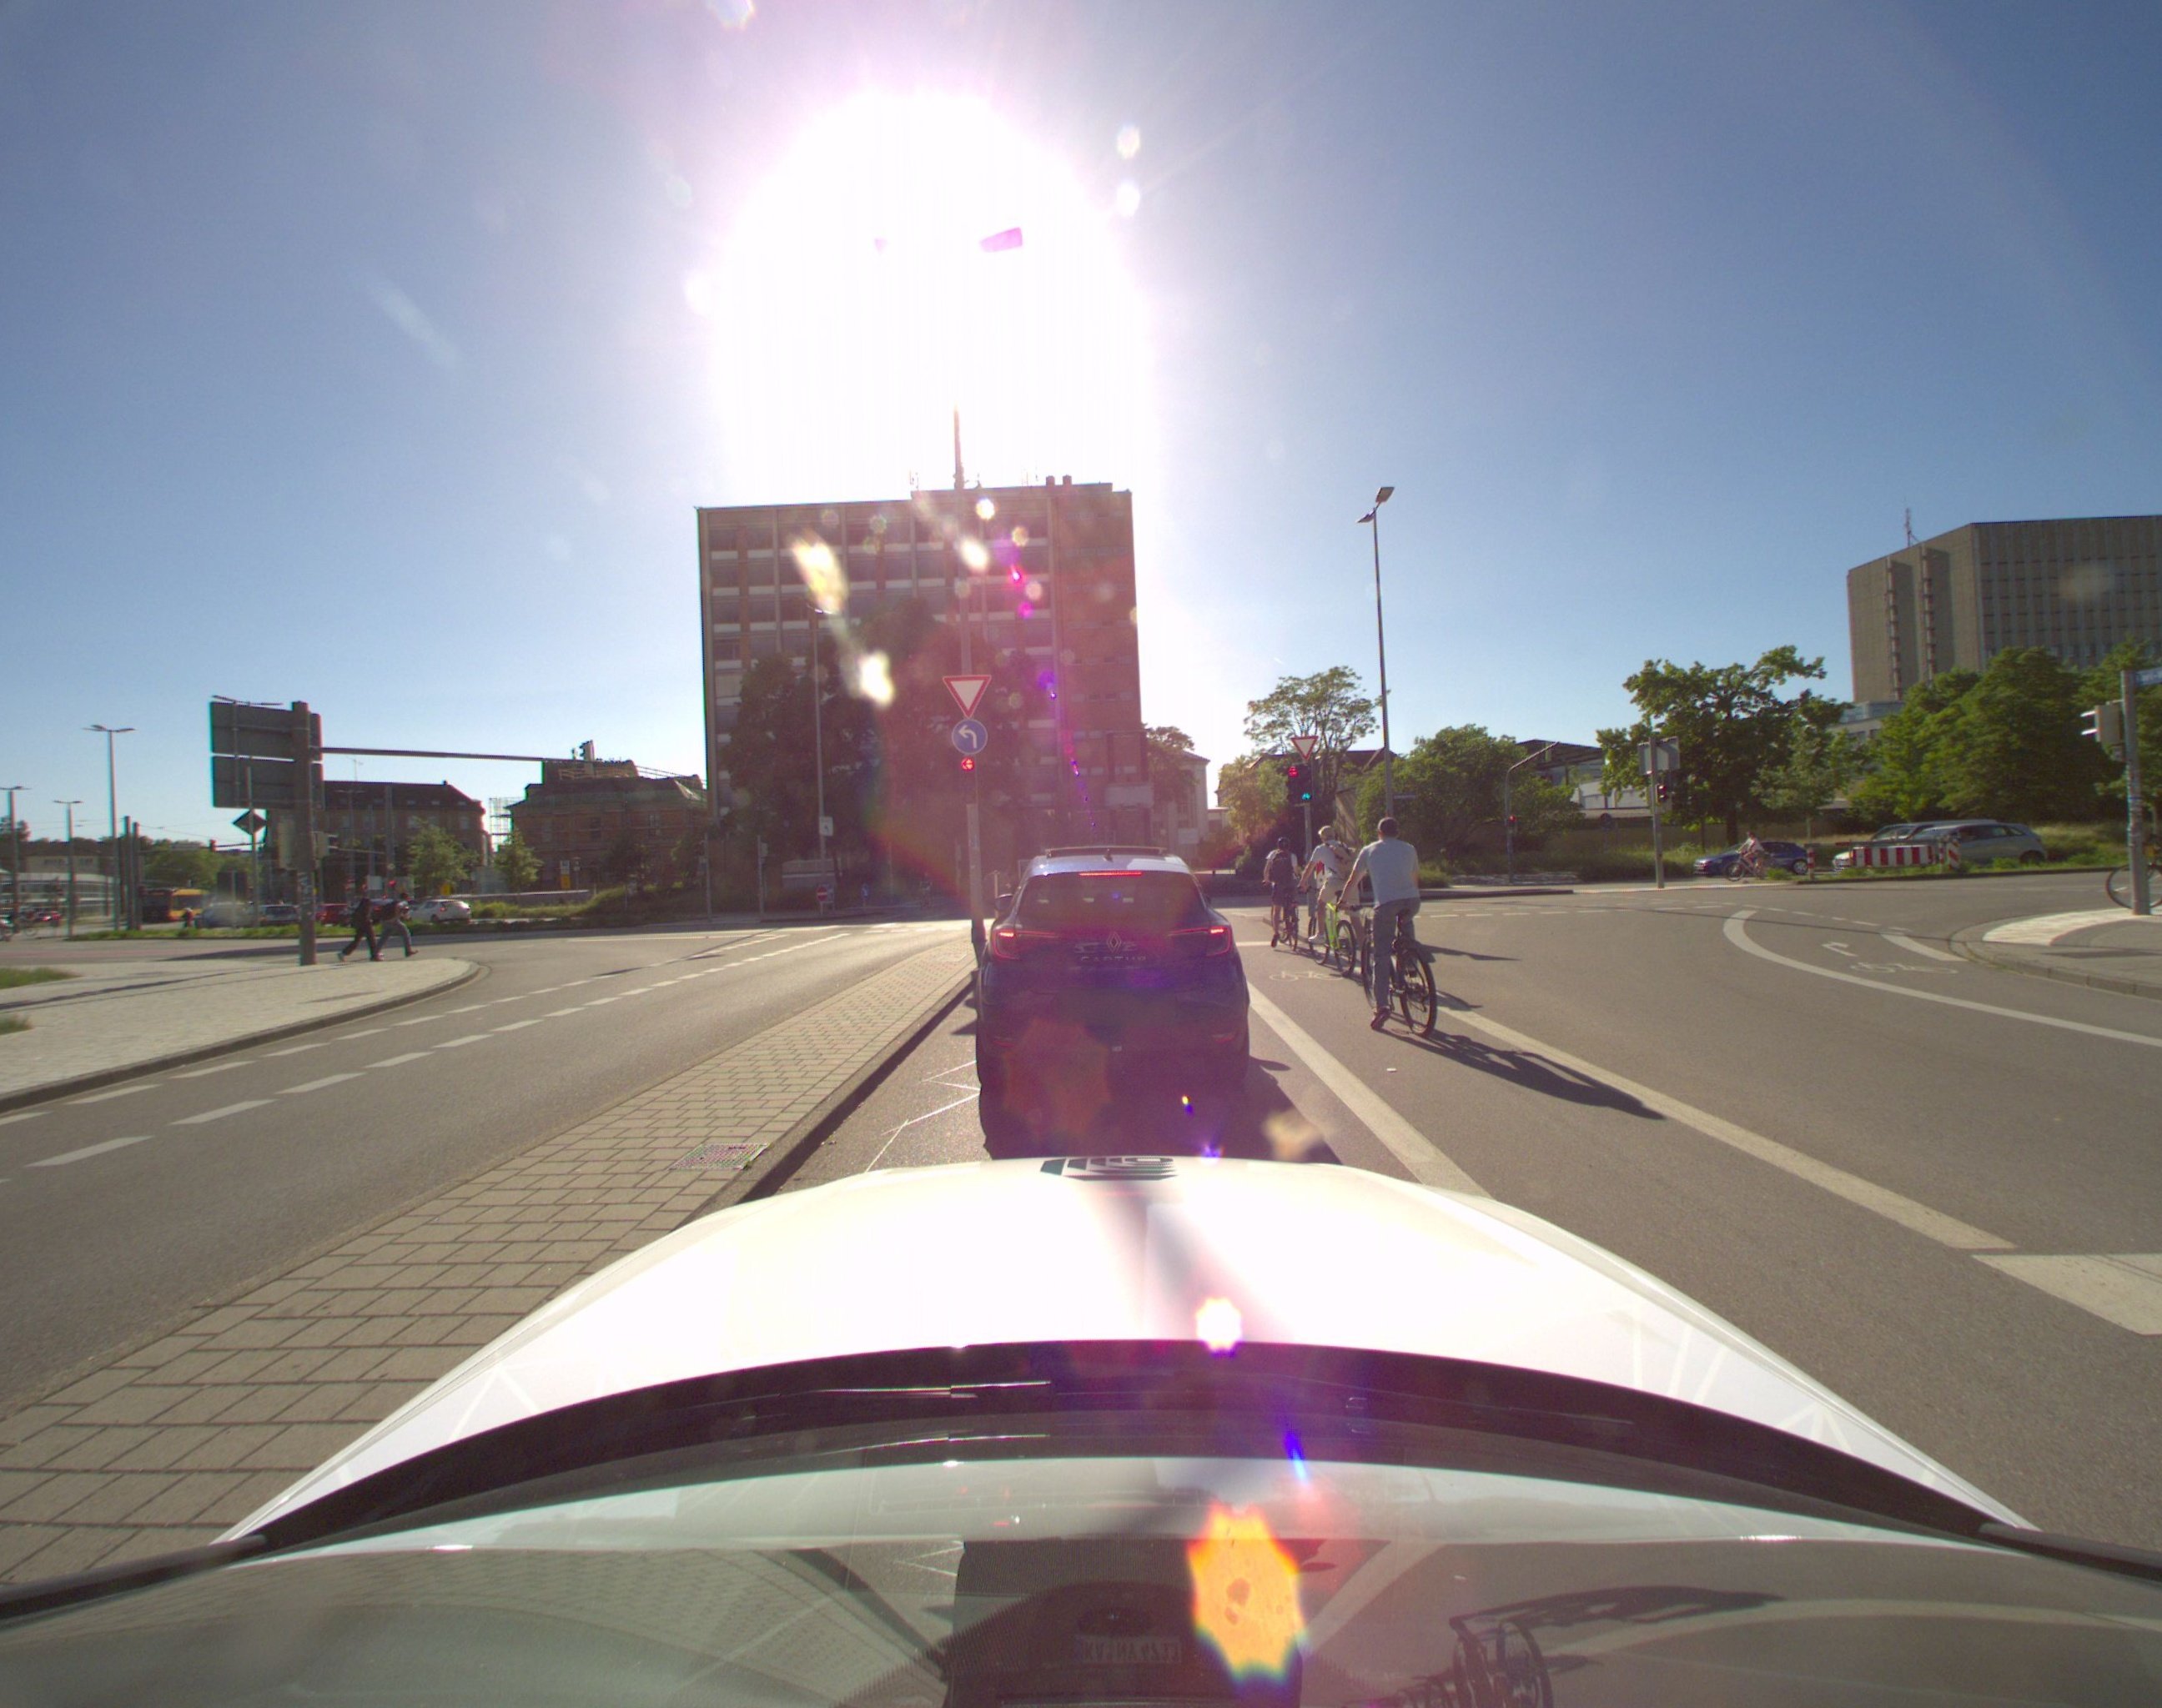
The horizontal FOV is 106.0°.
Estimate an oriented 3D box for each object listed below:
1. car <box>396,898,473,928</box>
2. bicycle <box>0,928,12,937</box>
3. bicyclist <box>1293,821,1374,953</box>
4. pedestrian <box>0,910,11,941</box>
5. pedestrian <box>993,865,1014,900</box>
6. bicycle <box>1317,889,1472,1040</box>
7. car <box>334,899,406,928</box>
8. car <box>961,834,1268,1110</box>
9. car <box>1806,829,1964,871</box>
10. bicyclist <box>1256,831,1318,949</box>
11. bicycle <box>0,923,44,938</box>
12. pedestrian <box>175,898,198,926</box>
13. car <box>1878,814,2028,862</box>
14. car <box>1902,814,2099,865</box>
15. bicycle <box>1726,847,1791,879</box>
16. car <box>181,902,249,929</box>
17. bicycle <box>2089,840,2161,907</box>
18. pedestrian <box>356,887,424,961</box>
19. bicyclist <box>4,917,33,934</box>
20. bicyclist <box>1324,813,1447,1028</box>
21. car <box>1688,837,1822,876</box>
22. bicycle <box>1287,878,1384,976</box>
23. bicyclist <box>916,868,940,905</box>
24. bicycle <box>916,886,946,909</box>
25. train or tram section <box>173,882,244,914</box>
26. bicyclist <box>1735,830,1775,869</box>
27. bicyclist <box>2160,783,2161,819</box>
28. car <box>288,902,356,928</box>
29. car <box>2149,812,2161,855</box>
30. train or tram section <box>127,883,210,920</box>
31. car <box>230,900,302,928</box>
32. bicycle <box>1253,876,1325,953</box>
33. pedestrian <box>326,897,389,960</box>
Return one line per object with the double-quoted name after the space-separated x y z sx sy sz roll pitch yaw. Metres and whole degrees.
-36.393 3.338 45.842 3.834 1.508 1.805 -3 -1 25 "car"
-66.951 4.879 50.069 0.429 0.549 1.419 -3 -1 42 "bicycle"
3.219 0.403 10.467 0.676 1.594 1.142 -1 -1 1 "bicyclist"
-65.890 4.366 49.457 0.723 1.865 0.883 -3 -1 22 "pedestrian"
-4.322 1.566 45.310 0.807 1.862 0.913 -3 -1 15 "pedestrian"
2.731 0.908 7.336 0.687 1.089 1.923 -1 0 2 "bicycle"
-42.548 3.565 48.747 3.834 1.508 1.805 -3 -1 25 "car"
0.199 0.704 6.772 1.783 1.585 3.913 -1 0 0 "car"
30.298 -0.136 30.798 3.965 1.398 1.798 -3 -1 7 "car"
3.266 0.557 13.021 0.697 1.791 1.142 -1 -1 2 "bicyclist"
-76.440 5.515 58.493 0.887 0.883 2.250 -3 0 13 "bicycle"
-62.323 4.032 56.739 0.722 1.865 0.884 -3 -1 27 "pedestrian"
35.872 -0.618 33.612 3.965 1.749 1.798 -3 -1 7 "car"
29.222 -0.434 26.006 3.965 1.398 1.798 -3 -1 7 "car"
24.141 0.322 29.041 1.673 1.033 0.612 -2 -1 7 "bicycle"
-54.911 3.894 51.644 3.834 1.508 1.805 -3 -1 25 "car"
15.916 0.268 11.632 0.640 0.958 1.866 -2 -1 -39 "bicycle"
-17.249 1.728 20.340 0.647 1.730 1.066 -3 -1 15 "pedestrian"
-76.438 5.139 58.581 0.887 1.166 0.971 -3 -1 13 "bicyclist"
2.722 0.558 7.396 0.680 1.791 1.142 -1 -1 2 "bicyclist"
28.136 0.106 34.112 3.965 1.398 1.798 -3 -1 7 "car"
3.235 0.892 10.529 0.687 1.089 1.923 -1 0 2 "bicycle"
-7.237 1.536 38.618 0.751 1.716 1.001 -2 -1 7 "bicyclist"
-7.168 2.058 38.964 0.751 0.985 2.098 -2 0 8 "bicycle"
-98.509 4.867 92.186 2.710 3.232 10.495 0 -1 -31 "train or tram section"
24.037 -0.160 29.056 0.870 1.343 0.612 -2 -1 7 "bicyclist"
16.027 -0.226 11.478 0.635 1.646 0.903 -2 -1 -39 "bicyclist"
-48.205 3.872 51.716 3.834 1.508 1.805 -3 -1 25 "car"
36.903 -0.763 25.336 4.534 1.398 1.798 -3 -1 7 "car"
-93.007 4.753 83.228 2.710 3.232 10.495 0 -1 -31 "train or tram section"
-48.862 3.606 48.812 3.834 1.508 1.805 -3 -1 25 "car"
3.263 0.916 12.947 0.687 1.089 1.923 -1 0 2 "bicycle"
-18.643 1.911 20.992 0.647 1.527 0.984 -3 -1 15 "pedestrian"
